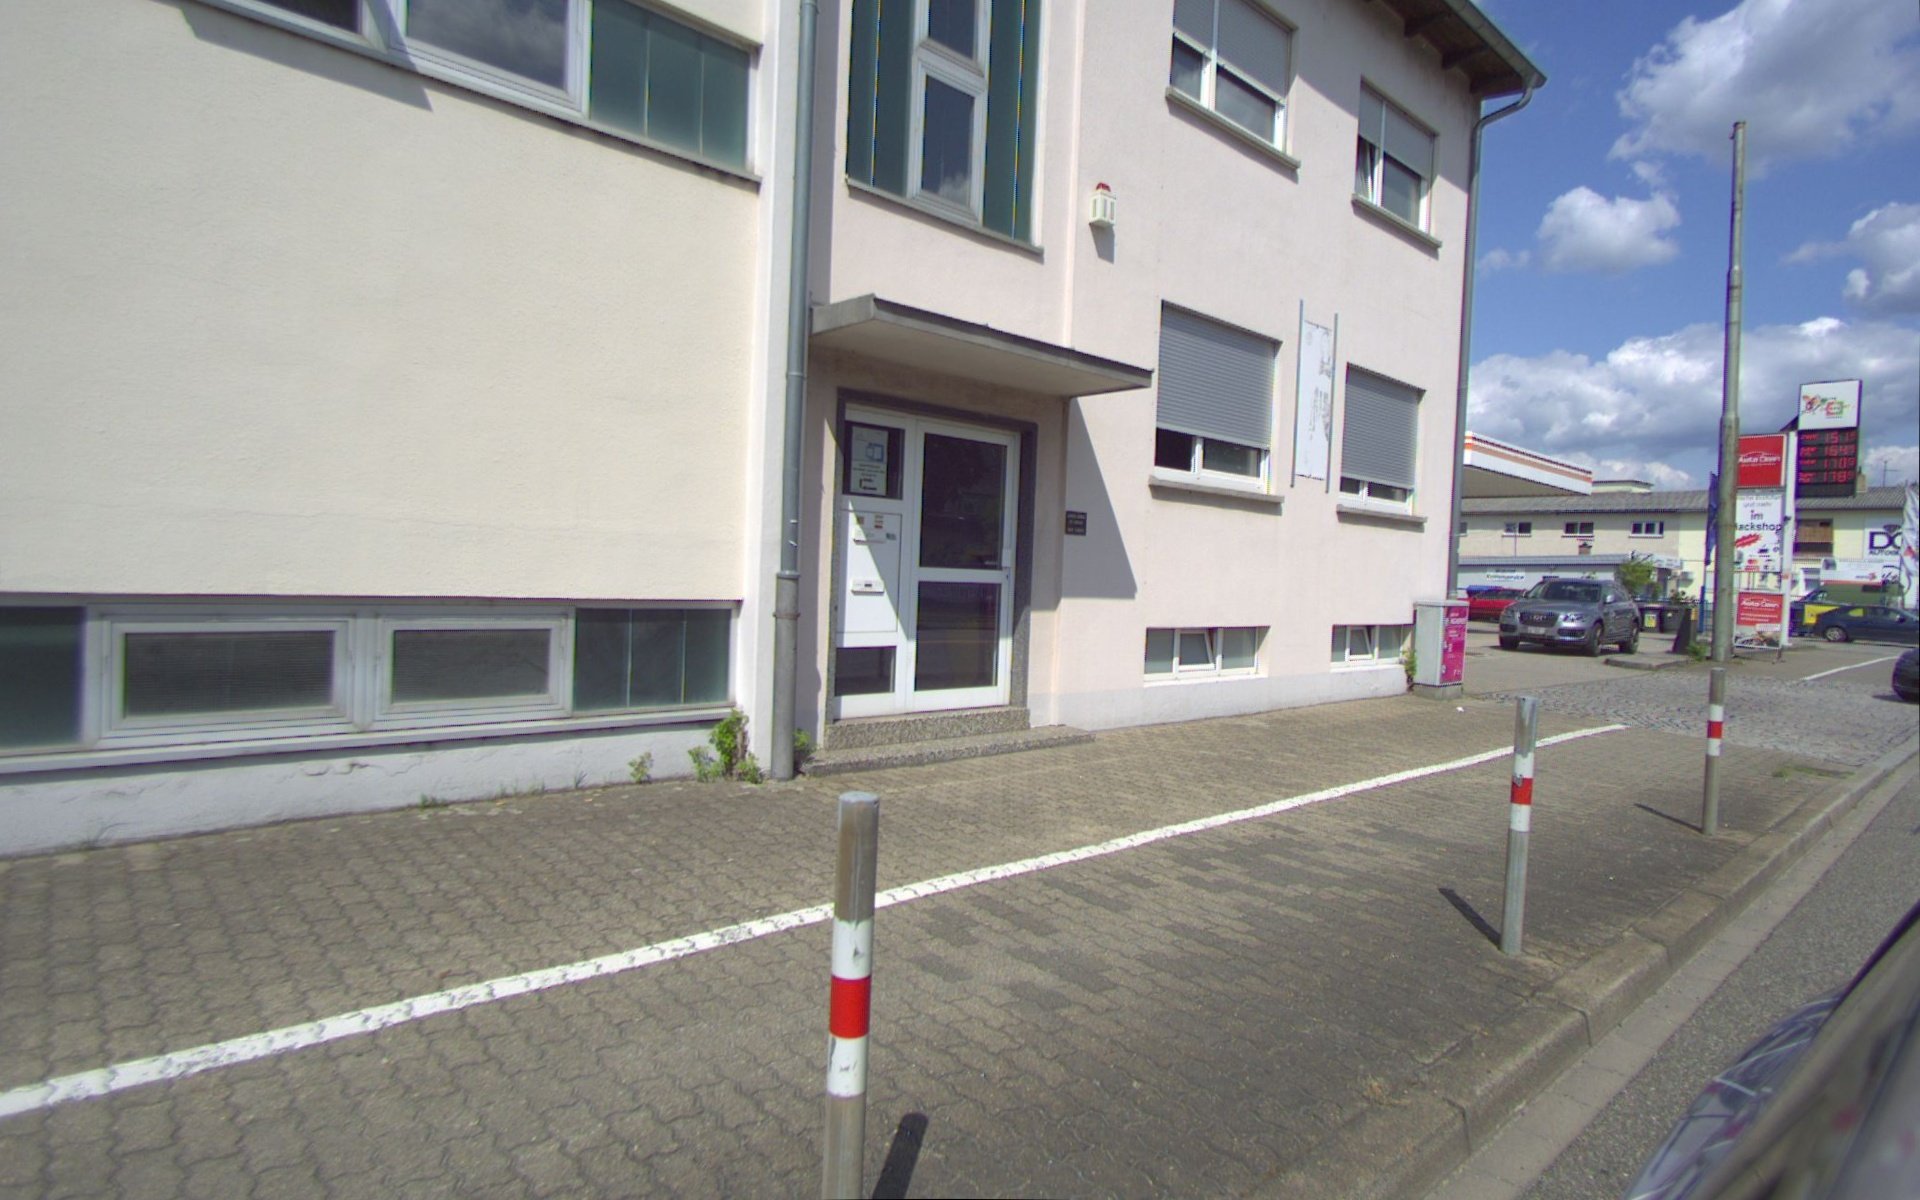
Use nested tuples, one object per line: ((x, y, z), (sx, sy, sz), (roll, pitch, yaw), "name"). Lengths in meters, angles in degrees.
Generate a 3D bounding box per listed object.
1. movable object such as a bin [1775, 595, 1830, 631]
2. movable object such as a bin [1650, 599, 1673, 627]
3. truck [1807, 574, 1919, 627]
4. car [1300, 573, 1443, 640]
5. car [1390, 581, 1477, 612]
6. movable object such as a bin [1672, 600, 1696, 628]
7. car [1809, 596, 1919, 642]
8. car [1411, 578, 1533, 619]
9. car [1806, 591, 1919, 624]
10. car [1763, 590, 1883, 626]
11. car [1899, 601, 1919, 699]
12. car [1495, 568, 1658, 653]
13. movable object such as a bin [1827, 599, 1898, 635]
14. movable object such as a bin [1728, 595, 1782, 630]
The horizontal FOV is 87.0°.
((34.911, 0.534, 41.923), (1.735, 1.427, 1.534), (0, 1, -42), "movable object such as a bin")
((26.670, 0.496, 38.490), (0.694, 1.023, 0.581), (0, 1, -42), "movable object such as a bin")
((47.674, -0.030, 53.491), (2.071, 2.694, 4.180), (0, 1, -40), "truck")
((10.335, 0.110, 25.287), (4.350, 1.489, 1.693), (-1, 2, -44), "car")
((21.654, -0.188, 46.359), (1.461, 1.240, 3.310), (0, 4, -39), "car")
((27.149, 0.508, 37.948), (0.694, 1.023, 0.581), (0, 1, -42), "movable object such as a bin")
((32.630, 0.664, 35.488), (1.616, 1.425, 4.068), (0, 3, -35), "car")
((21.135, -0.086, 41.885), (1.740, 1.442, 4.146), (0, 4, -39), "car")
((45.912, 0.348, 51.353), (1.792, 1.526, 4.265), (0, 1, -33), "car")
((40.047, 0.349, 47.044), (1.592, 1.481, 3.918), (0, 2, -24), "car")
((16.462, 0.761, 15.231), (4.289, 1.435, 1.748), (0, 1, -22), "car")
((13.889, 0.184, 22.700), (4.538, 1.645, 1.948), (0, 3, -43), "car")
((36.515, 0.659, 40.968), (1.679, 1.364, 1.966), (0, 1, -42), "movable object such as a bin")
((33.873, 0.513, 43.100), (1.735, 1.427, 1.534), (0, 1, -42), "movable object such as a bin")
